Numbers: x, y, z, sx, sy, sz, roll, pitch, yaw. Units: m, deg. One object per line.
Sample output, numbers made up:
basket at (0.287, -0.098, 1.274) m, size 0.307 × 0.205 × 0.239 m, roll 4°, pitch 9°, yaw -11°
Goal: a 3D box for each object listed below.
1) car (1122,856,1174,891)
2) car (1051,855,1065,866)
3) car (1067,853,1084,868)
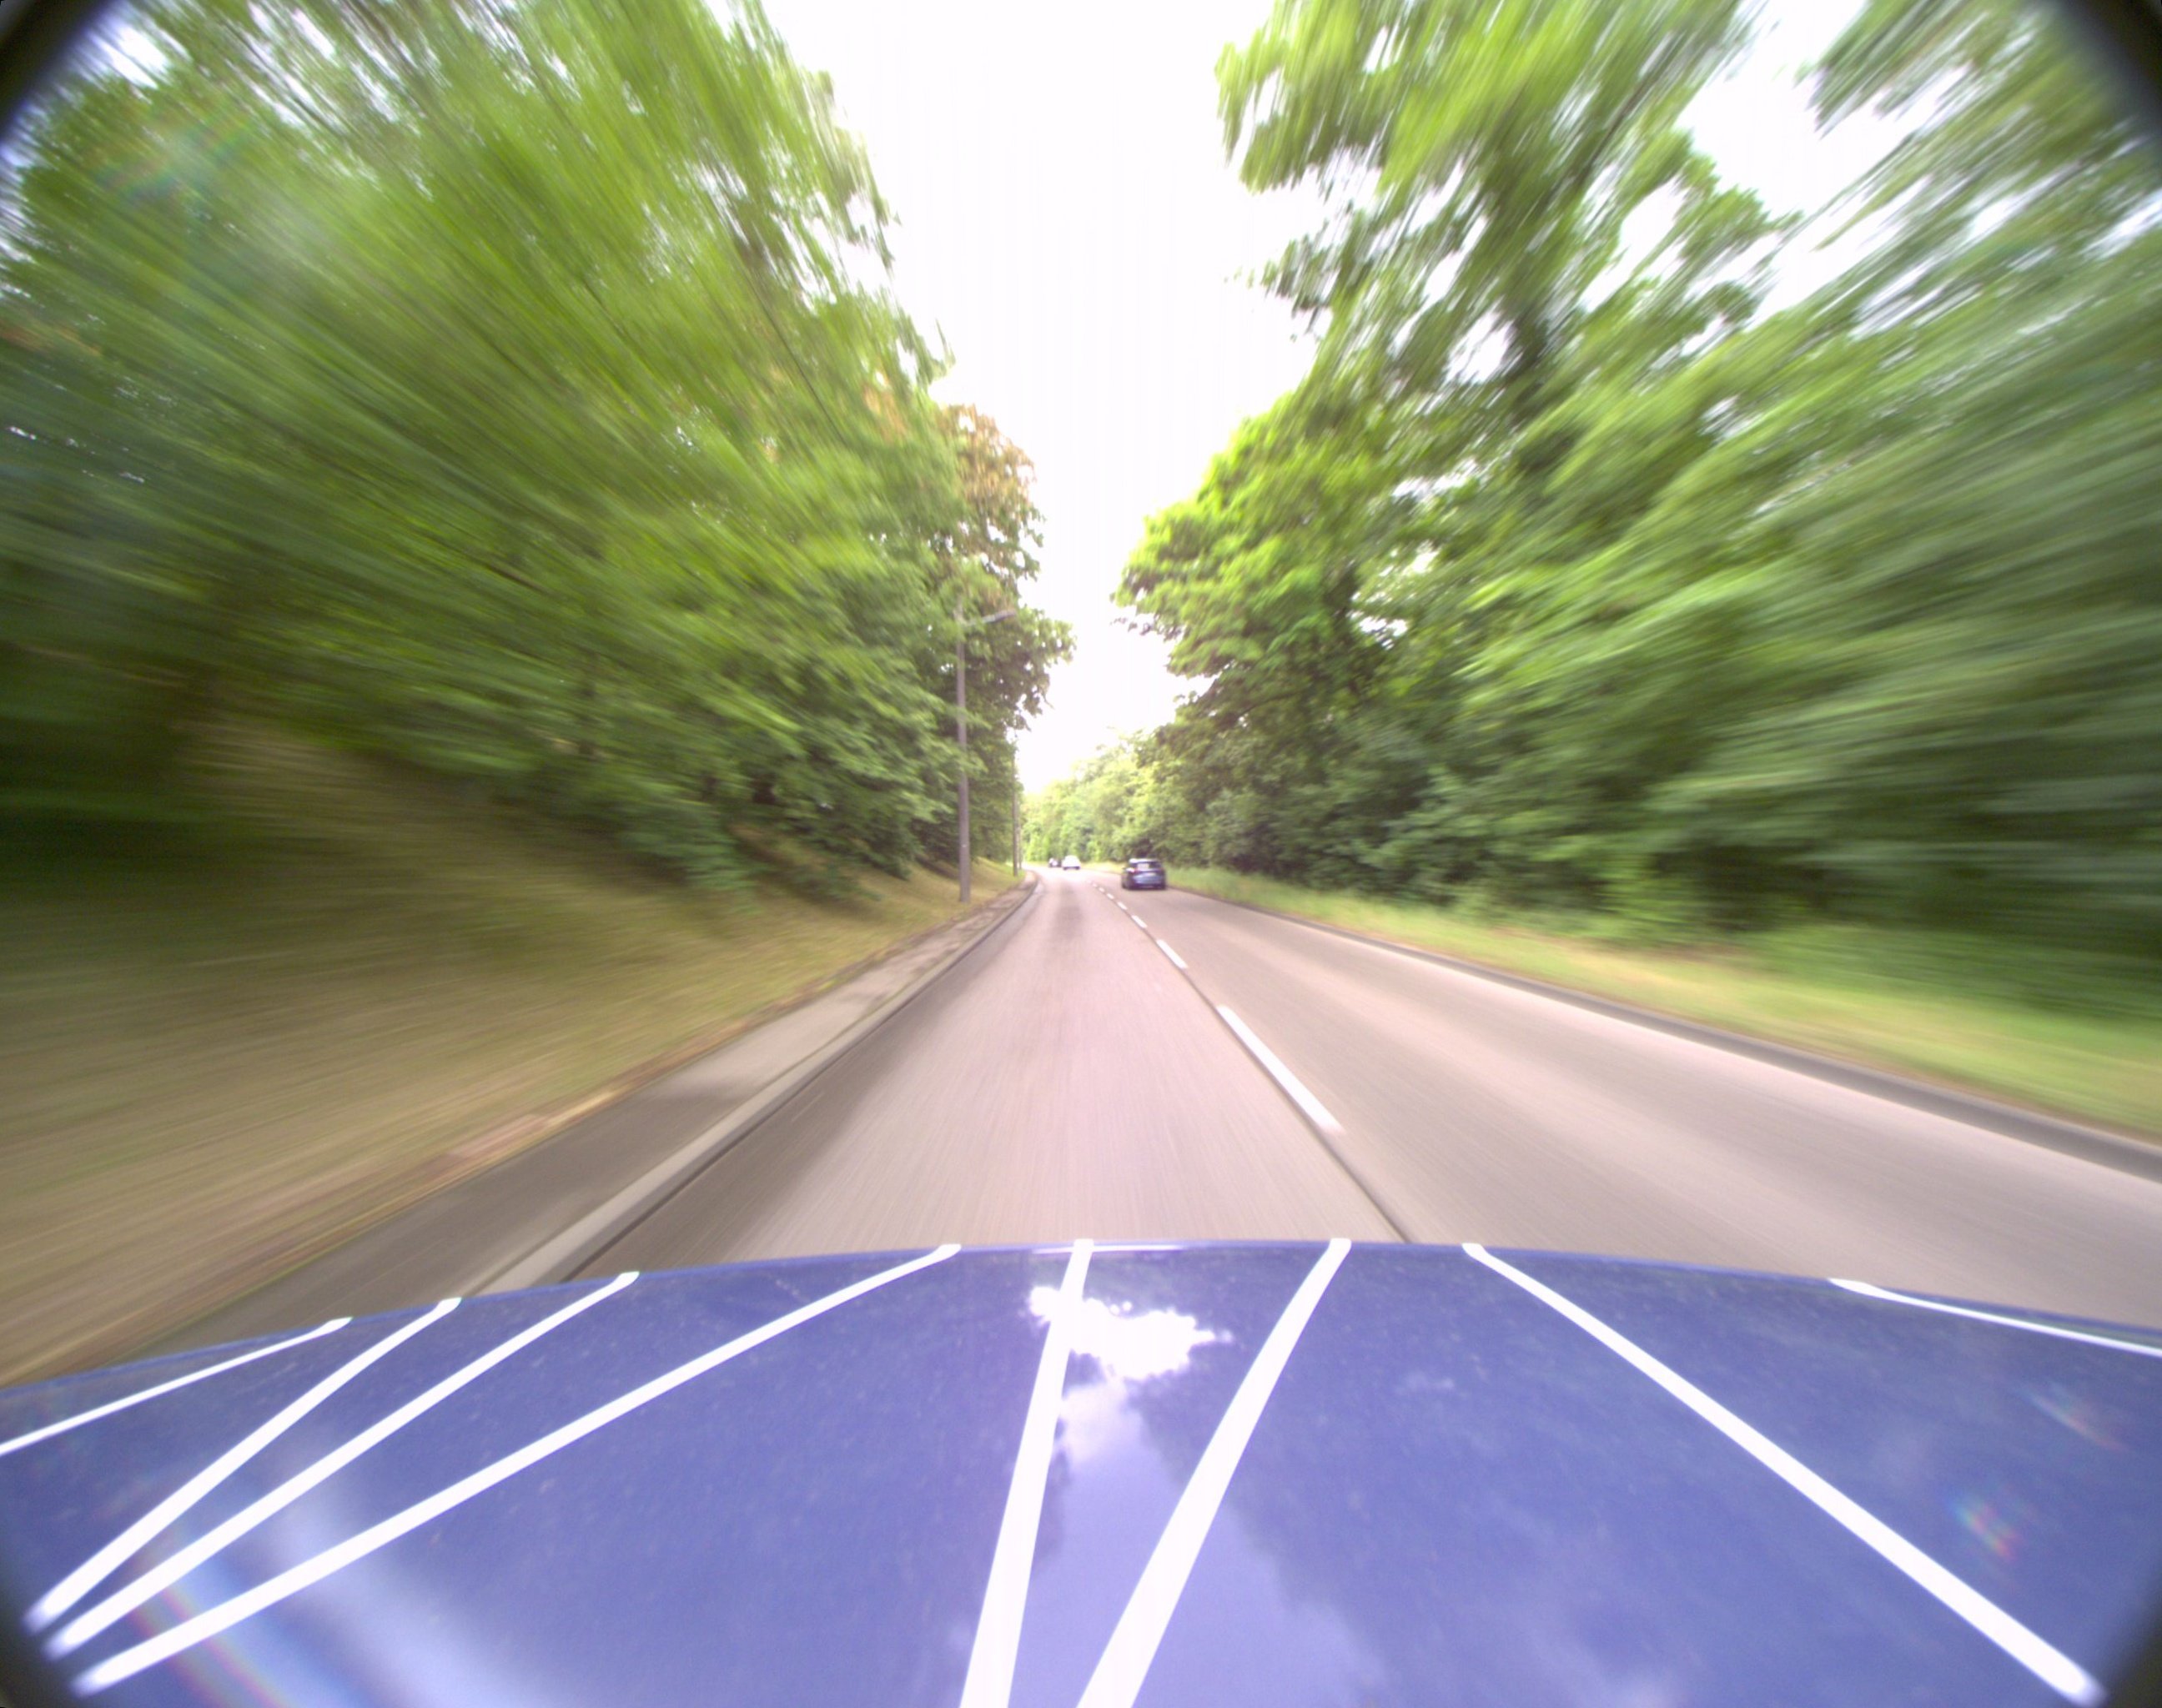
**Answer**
car at (3.101, 0.880, 36.094) m, size 1.999 × 1.429 × 3.999 m, roll -3°, pitch 1°, yaw -1°
car at (-3.609, 0.969, 120.473) m, size 2.035 × 1.499 × 4.593 m, roll -3°, pitch 1°, yaw -3°
car at (-0.733, 0.822, 95.088) m, size 1.824 × 1.685 × 4.285 m, roll -3°, pitch 1°, yaw -3°
